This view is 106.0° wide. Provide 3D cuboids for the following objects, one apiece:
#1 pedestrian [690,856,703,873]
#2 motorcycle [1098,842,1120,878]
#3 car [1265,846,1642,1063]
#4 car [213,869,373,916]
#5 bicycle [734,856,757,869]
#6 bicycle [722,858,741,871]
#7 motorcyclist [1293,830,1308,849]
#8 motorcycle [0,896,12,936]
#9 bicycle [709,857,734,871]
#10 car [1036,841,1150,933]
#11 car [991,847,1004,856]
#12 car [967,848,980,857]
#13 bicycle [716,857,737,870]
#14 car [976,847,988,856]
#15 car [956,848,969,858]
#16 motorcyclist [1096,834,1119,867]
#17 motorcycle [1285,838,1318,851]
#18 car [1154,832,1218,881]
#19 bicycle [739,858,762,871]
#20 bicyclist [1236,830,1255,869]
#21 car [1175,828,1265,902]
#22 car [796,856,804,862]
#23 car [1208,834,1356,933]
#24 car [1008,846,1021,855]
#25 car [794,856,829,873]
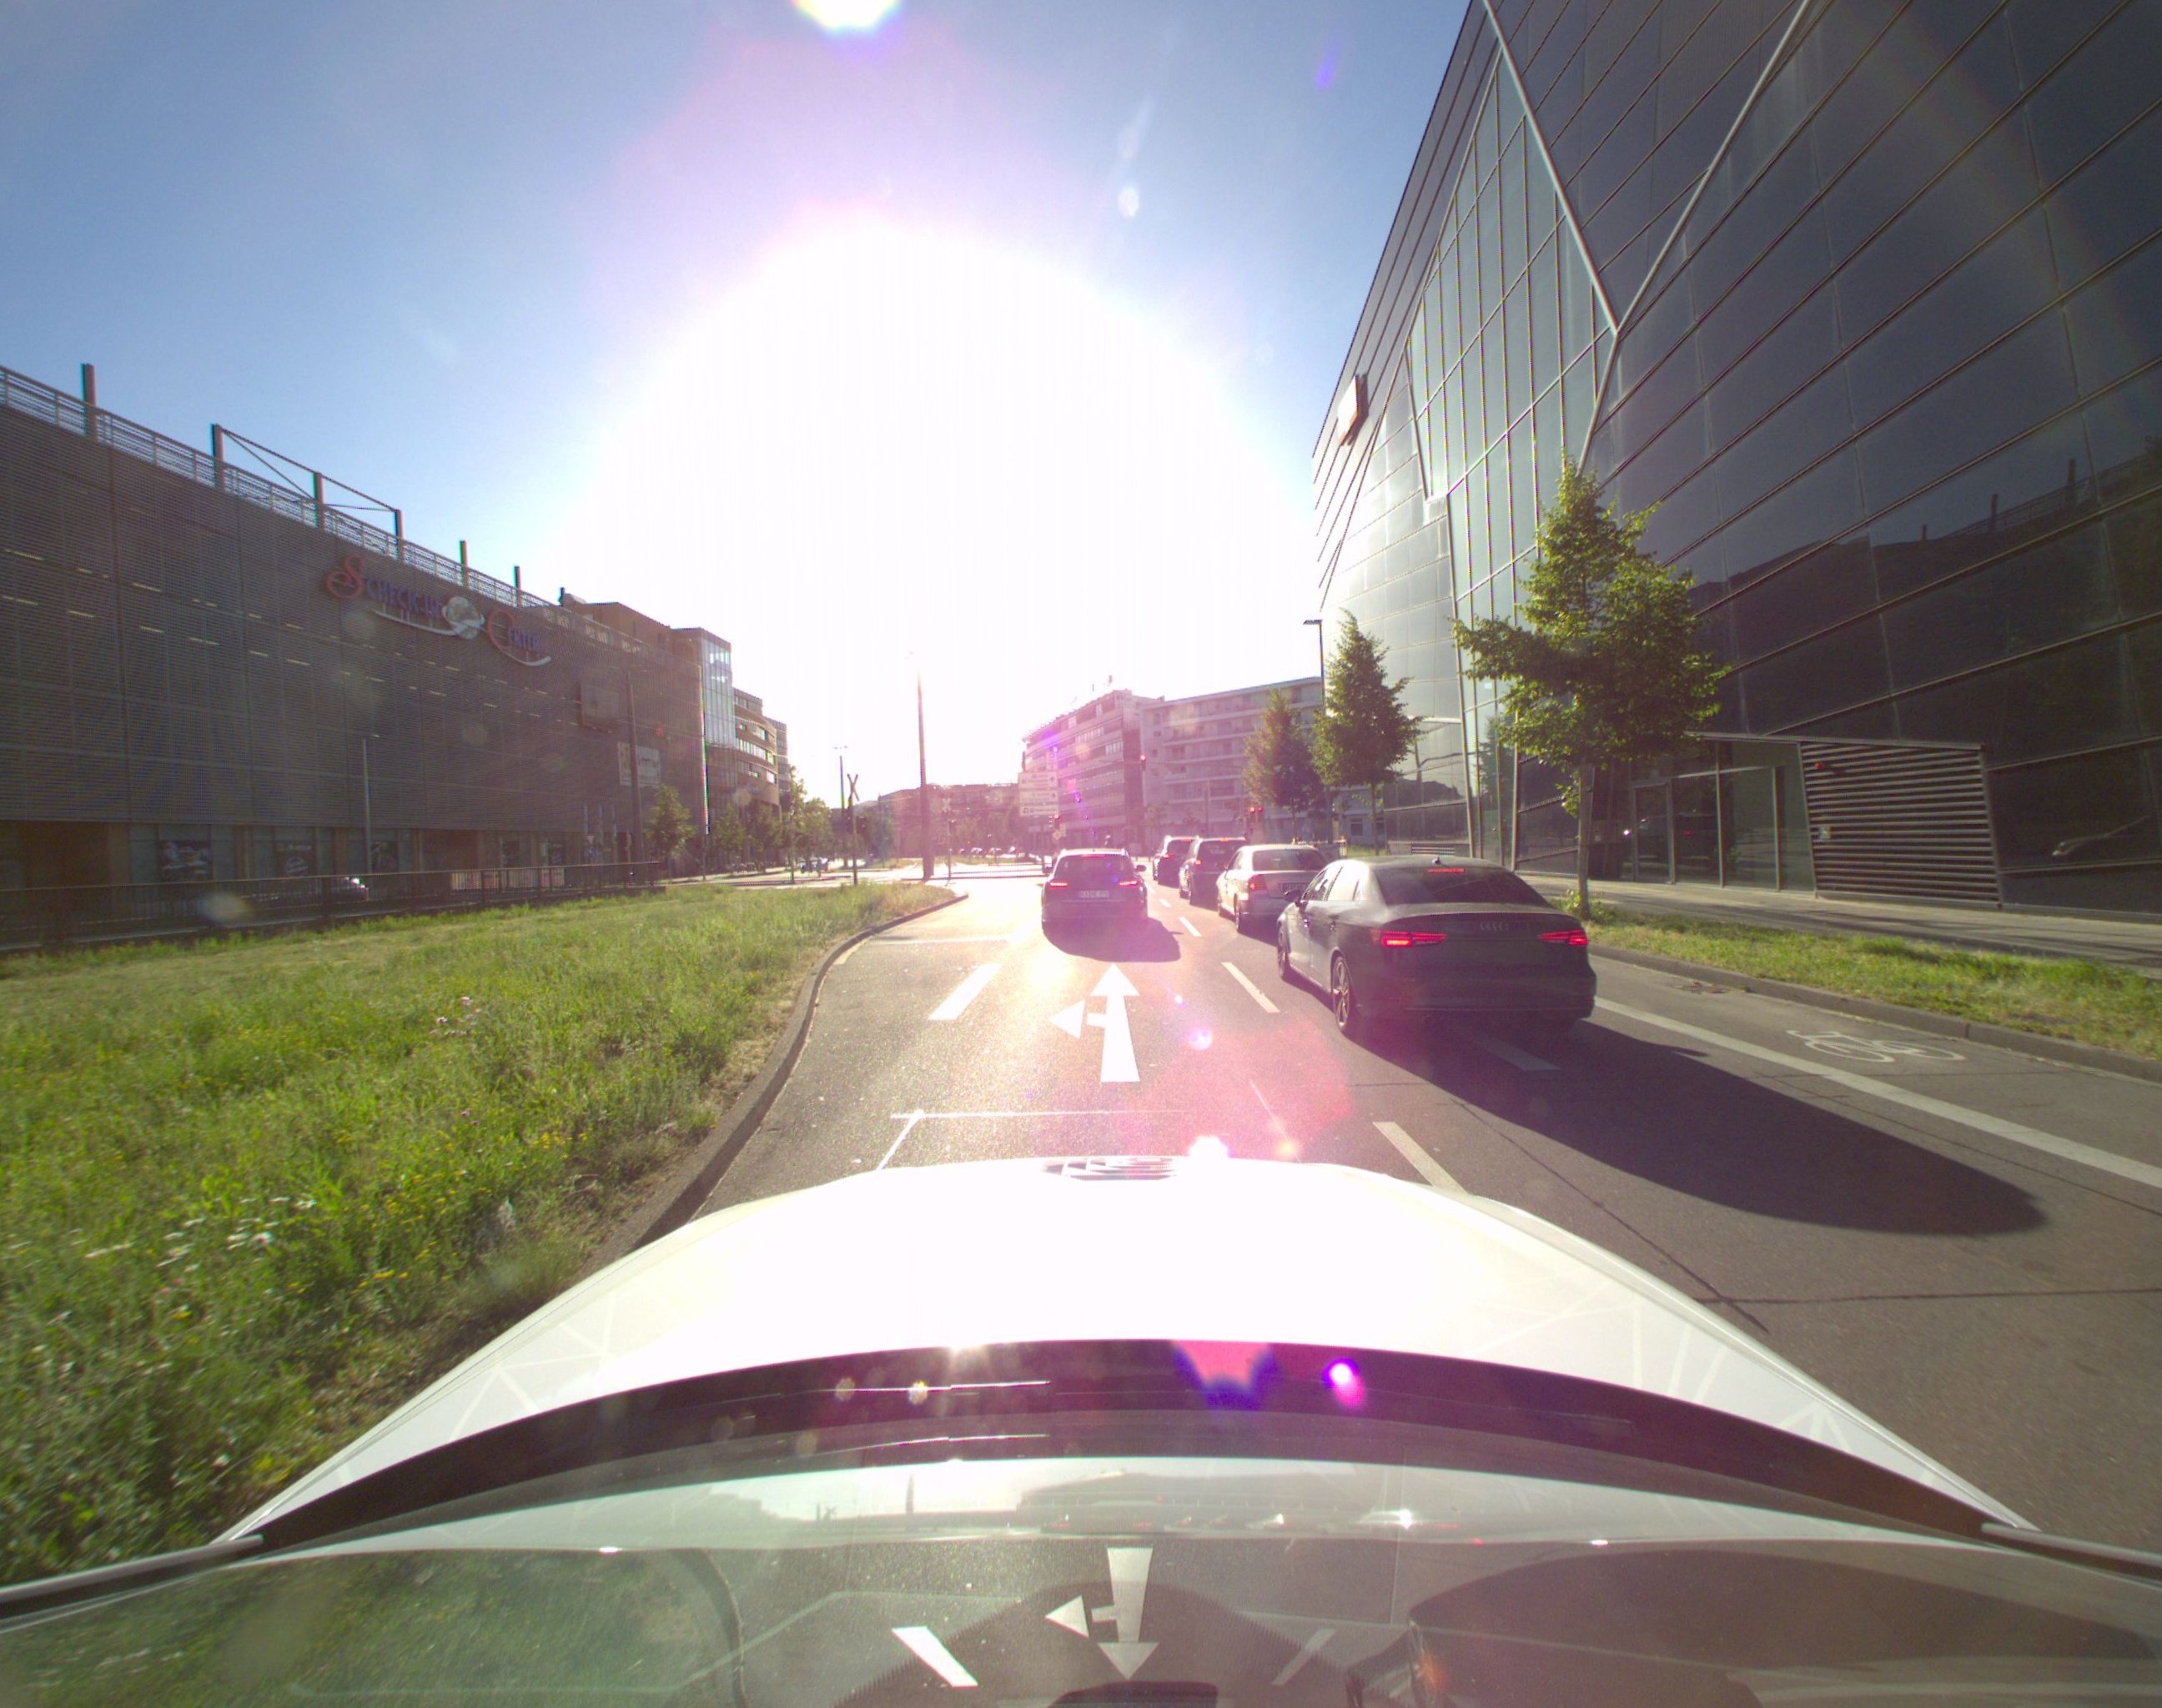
[{"bbox_3d":[-41.359,1.101,87.582,0.823,1.824,0.905,-4,-1,3],"label":"pedestrian"},{"bbox_3d":[1.158,0.227,33.648,0.859,1.393,1.895,-2,0,2],"label":"motorcycle"},{"bbox_3d":[2.911,0.644,7.469,1.738,1.392,4.269,-1,1,4],"label":"car"},{"bbox_3d":[-30.805,1.459,32.064,1.985,1.500,4.247,-2,1,2],"label":"car"},{"bbox_3d":[-42.474,1.104,103.179,2.546,1.433,0.907,-3,0,10],"label":"bicycle"},{"bbox_3d":[-42.622,1.242,99.397,1.965,1.433,0.809,-3,0,10],"label":"bicycle"},{"bbox_3d":[18.262,-1.190,67.720,0.920,1.481,1.173,-2,0,4],"label":"motorcyclist"},{"bbox_3d":[-41.384,2.404,28.712,1.986,1.453,4.002,-3,1,2],"label":"motorcycle"},{"bbox_3d":[-42.907,1.207,97.219,2.355,1.433,1.080,-3,0,10],"label":"bicycle"},{"bbox_3d":[0.256,0.513,15.257,1.835,1.453,4.002,-1,1,2],"label":"car"},{"bbox_3d":[-16.319,-0.399,158.526,1.996,1.596,3.982,-3,0,-13],"label":"car"},{"bbox_3d":[-21.994,-0.234,166.885,1.998,1.706,3.978,-3,0,-16],"label":"car"},{"bbox_3d":[-42.723,1.163,98.210,2.070,1.433,0.863,-3,0,10],"label":"bicycle"},{"bbox_3d":[-19.594,-0.522,160.972,1.996,1.596,3.982,-3,0,-13],"label":"car"},{"bbox_3d":[-24.159,-0.200,166.374,1.998,1.706,3.978,-3,0,-16],"label":"car"},{"bbox_3d":[1.096,-0.159,33.641,0.859,1.326,0.681,-2,0,2],"label":"motorcyclist"},{"bbox_3d":[18.327,-0.790,67.725,2.441,1.000,1.173,-2,1,4],"label":"motorcycle"},{"bbox_3d":[3.924,0.057,31.163,1.995,1.715,4.374,-1,1,2],"label":"car"},{"bbox_3d":[-42.790,1.357,105.439,2.546,1.433,0.907,-3,0,10],"label":"bicycle"},{"bbox_3d":[7.199,-0.200,35.716,0.651,1.642,0.973,-2,1,5],"label":"bicyclist"},{"bbox_3d":[3.489,0.224,21.167,1.739,1.696,4.263,-1,1,2],"label":"car"},{"bbox_3d":[-77.756,1.343,225.495,1.658,1.588,3.331,-3,1,-25],"label":"car"},{"bbox_3d":[3.490,0.438,15.004,1.738,1.481,4.632,-2,1,3],"label":"car"},{"bbox_3d":[-13.955,-0.766,170.913,1.996,1.596,3.983,-3,0,-12],"label":"car"},{"bbox_3d":[-26.948,1.024,81.598,1.988,1.545,4.528,-2,1,-1],"label":"car"}]
